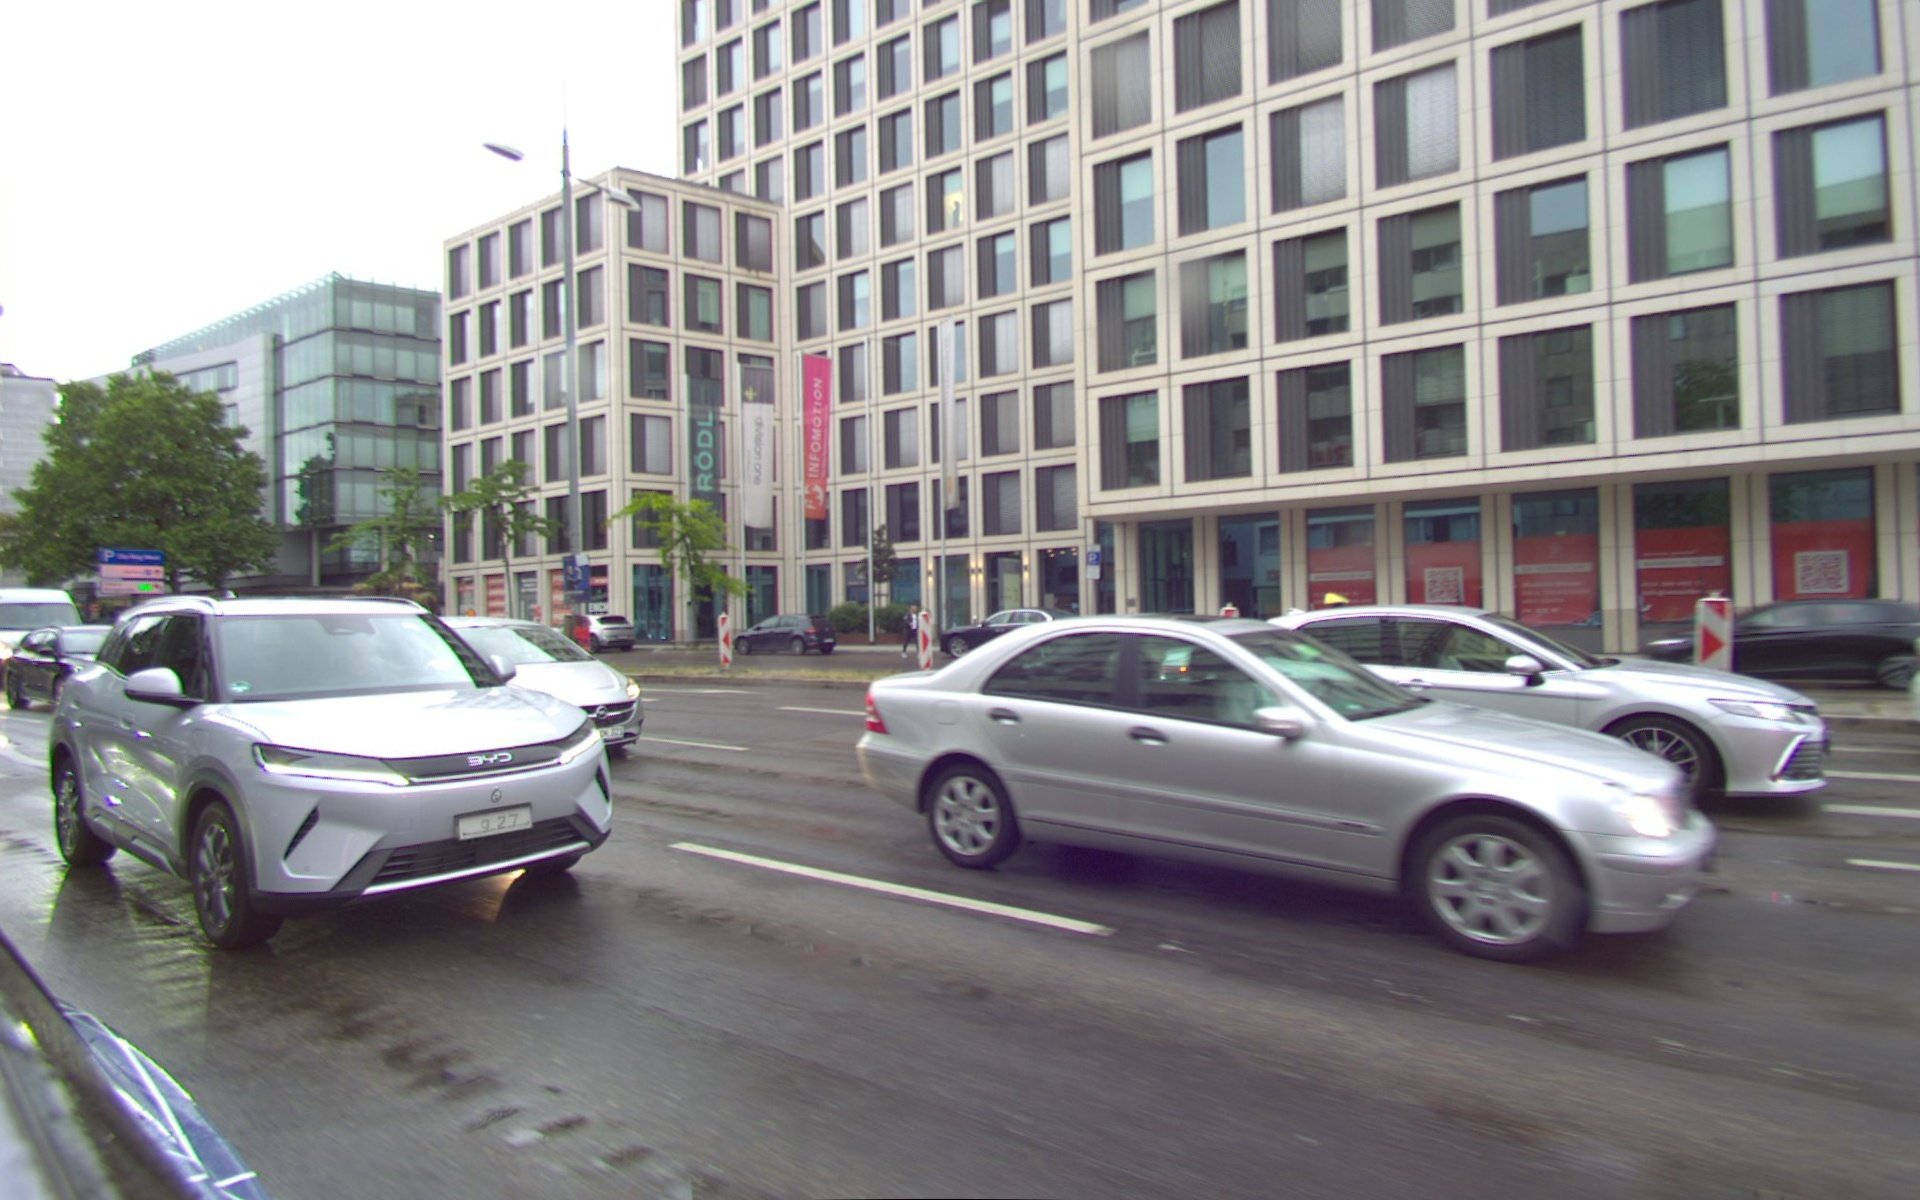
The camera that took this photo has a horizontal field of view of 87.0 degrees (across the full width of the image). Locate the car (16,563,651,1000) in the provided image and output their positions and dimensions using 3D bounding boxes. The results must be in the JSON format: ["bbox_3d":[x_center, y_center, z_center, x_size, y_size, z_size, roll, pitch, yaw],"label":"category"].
[{"bbox_3d":[-3.815,0.712,5.872,4.164,1.673,1.791,-1,0,38],"label":"car"}]

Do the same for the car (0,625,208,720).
[{"bbox_3d":[-15.155,1.176,17.741,4.230,1.412,1.884,-1,0,34],"label":"car"}]

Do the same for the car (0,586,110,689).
[{"bbox_3d":[-24.347,0.911,26.178,5.707,2.403,2.234,-1,0,35],"label":"car"}]

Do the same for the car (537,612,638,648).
[{"bbox_3d":[-15.755,1.287,42.732,4.358,1.435,1.685,-1,-2,32],"label":"car"}]

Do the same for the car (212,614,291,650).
[{"bbox_3d":[-41.947,1.884,59.884,4.898,2.029,1.979,-1,0,31],"label":"car"}]

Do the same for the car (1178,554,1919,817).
[{"bbox_3d":[4.336,0.517,8.020,4.794,1.533,1.813,-1,0,38],"label":"car"}]

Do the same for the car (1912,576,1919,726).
[{"bbox_3d":[10.061,0.449,7.633,3.987,1.384,1.767,-1,0,37],"label":"car"}]

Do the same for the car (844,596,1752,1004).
[{"bbox_3d":[1.542,0.730,5.578,4.376,1.414,1.717,-1,0,37],"label":"car"}]

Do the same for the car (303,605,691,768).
[{"bbox_3d":[-5.142,0.837,11.161,4.108,1.490,1.759,-1,0,28],"label":"car"}]

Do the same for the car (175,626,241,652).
[{"bbox_3d":[-46.656,2.404,62.739,4.271,1.540,1.785,-1,0,31],"label":"car"}]

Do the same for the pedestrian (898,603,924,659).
[{"bbox_3d":[-1.567,0.985,32.469,0.604,1.747,0.970,-1,0,-15],"label":"pedestrian"}]

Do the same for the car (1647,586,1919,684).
[{"bbox_3d":[14.092,0.597,17.190,3.861,1.530,1.685,-1,-2,32],"label":"car"}]

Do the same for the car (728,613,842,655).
[{"bbox_3d":[-6.328,1.228,36.415,3.941,1.435,1.685,-1,-2,31],"label":"car"}]

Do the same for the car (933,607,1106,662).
[{"bbox_3d":[1.782,1.072,31.300,5.165,1.581,1.685,-1,-2,32],"label":"car"}]
